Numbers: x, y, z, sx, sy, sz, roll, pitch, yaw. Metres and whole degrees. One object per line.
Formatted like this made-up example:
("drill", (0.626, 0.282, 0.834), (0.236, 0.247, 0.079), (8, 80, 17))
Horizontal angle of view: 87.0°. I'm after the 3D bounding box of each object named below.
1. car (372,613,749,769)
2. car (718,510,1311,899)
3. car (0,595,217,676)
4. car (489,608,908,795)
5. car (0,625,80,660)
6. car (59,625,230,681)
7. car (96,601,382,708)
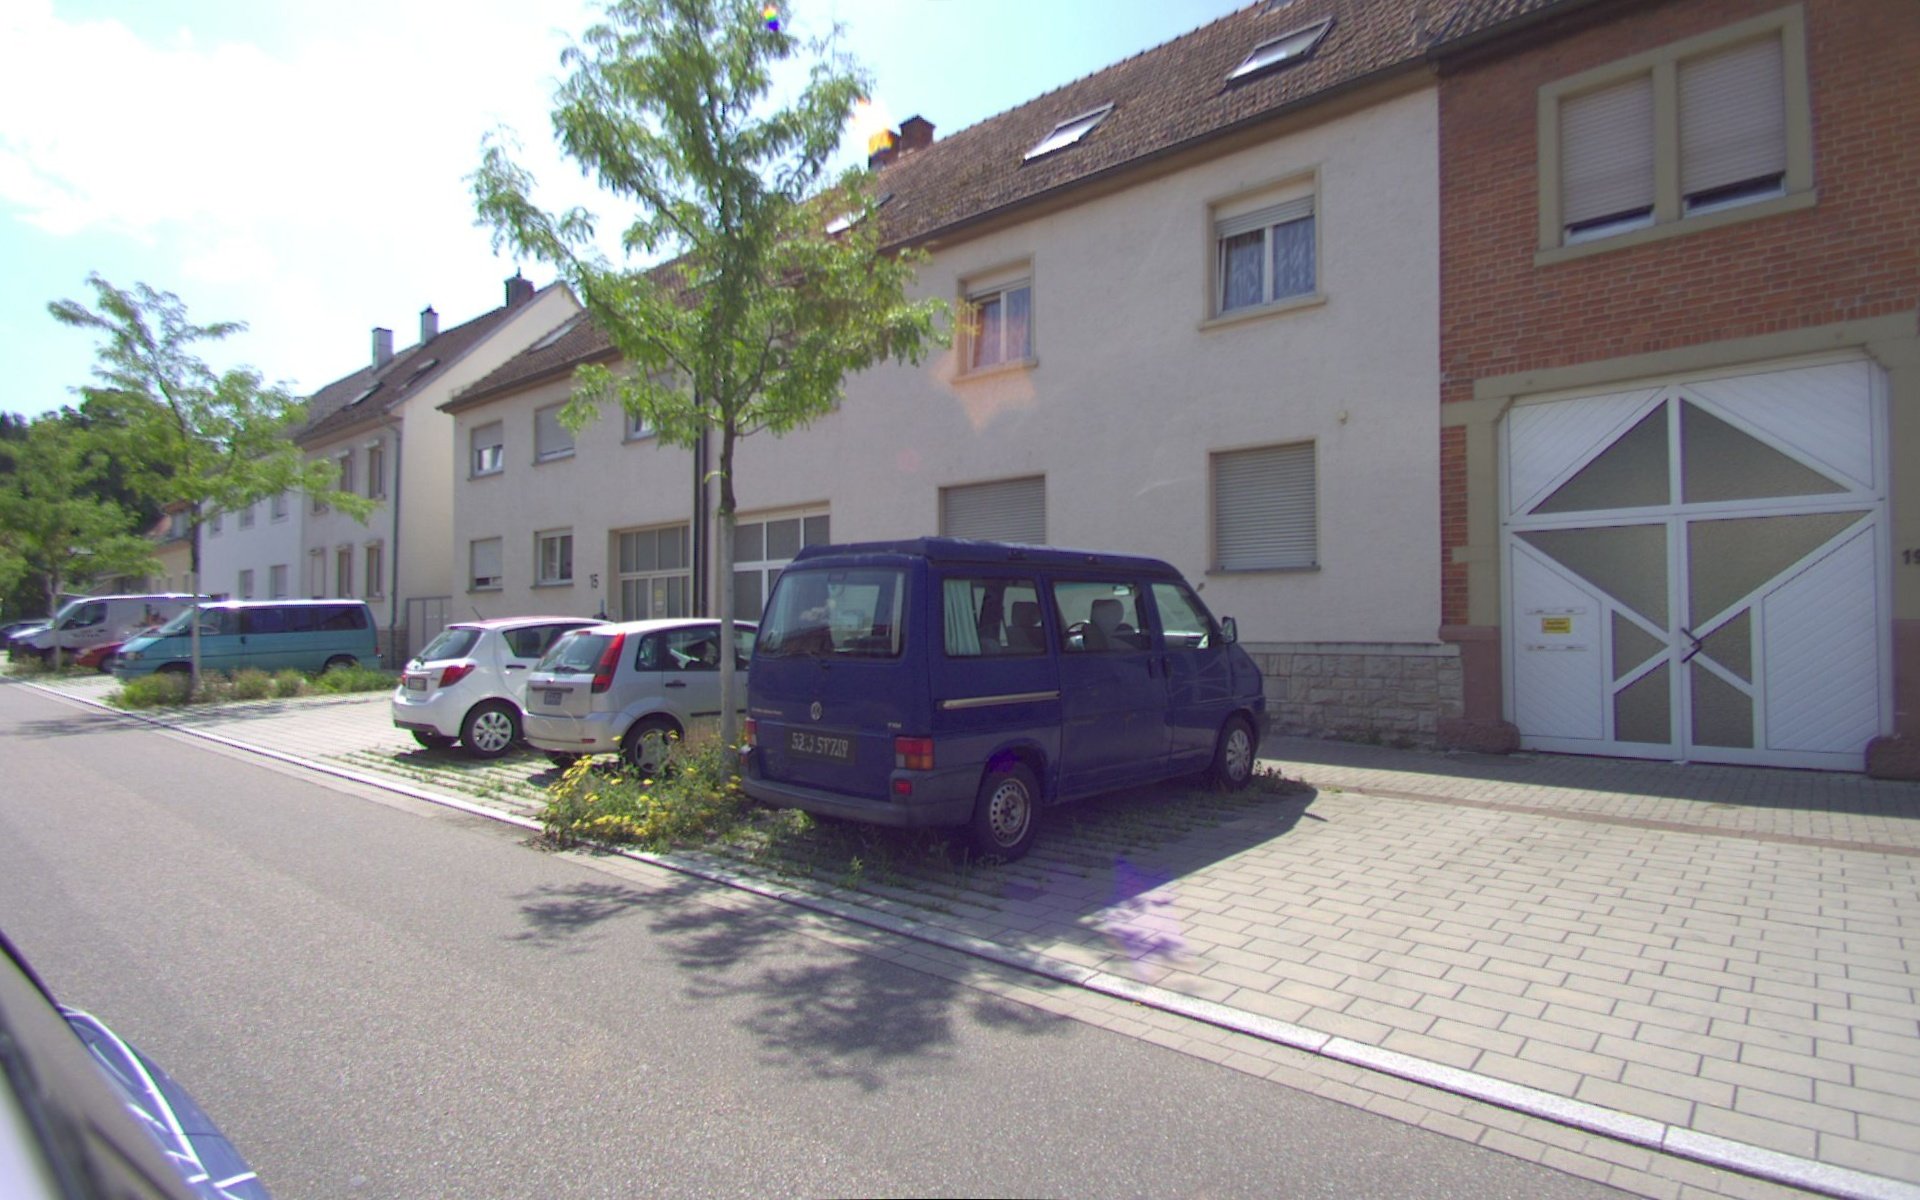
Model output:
("car", (-4.693, 0.949, 12.275), (1.772, 1.500, 3.873), (-1, 0, 43))
("car", (0.701, 0.526, 7.584), (1.953, 2.011, 4.563), (-1, 0, 43))
("car", (-27.300, 1.050, 32.551), (2.155, 2.305, 5.116), (-1, 0, 39))
("car", (-2.549, 0.876, 10.526), (1.772, 1.500, 3.873), (-1, 0, 43))
("car", (-43.781, 1.970, 46.709), (1.900, 1.528, 4.539), (-1, 0, 41))
("car", (-24.334, 1.527, 30.275), (1.725, 1.396, 3.743), (-1, 1, 41))
("car", (-15.207, 1.037, 21.567), (1.999, 1.921, 4.628), (-1, 1, 41))
